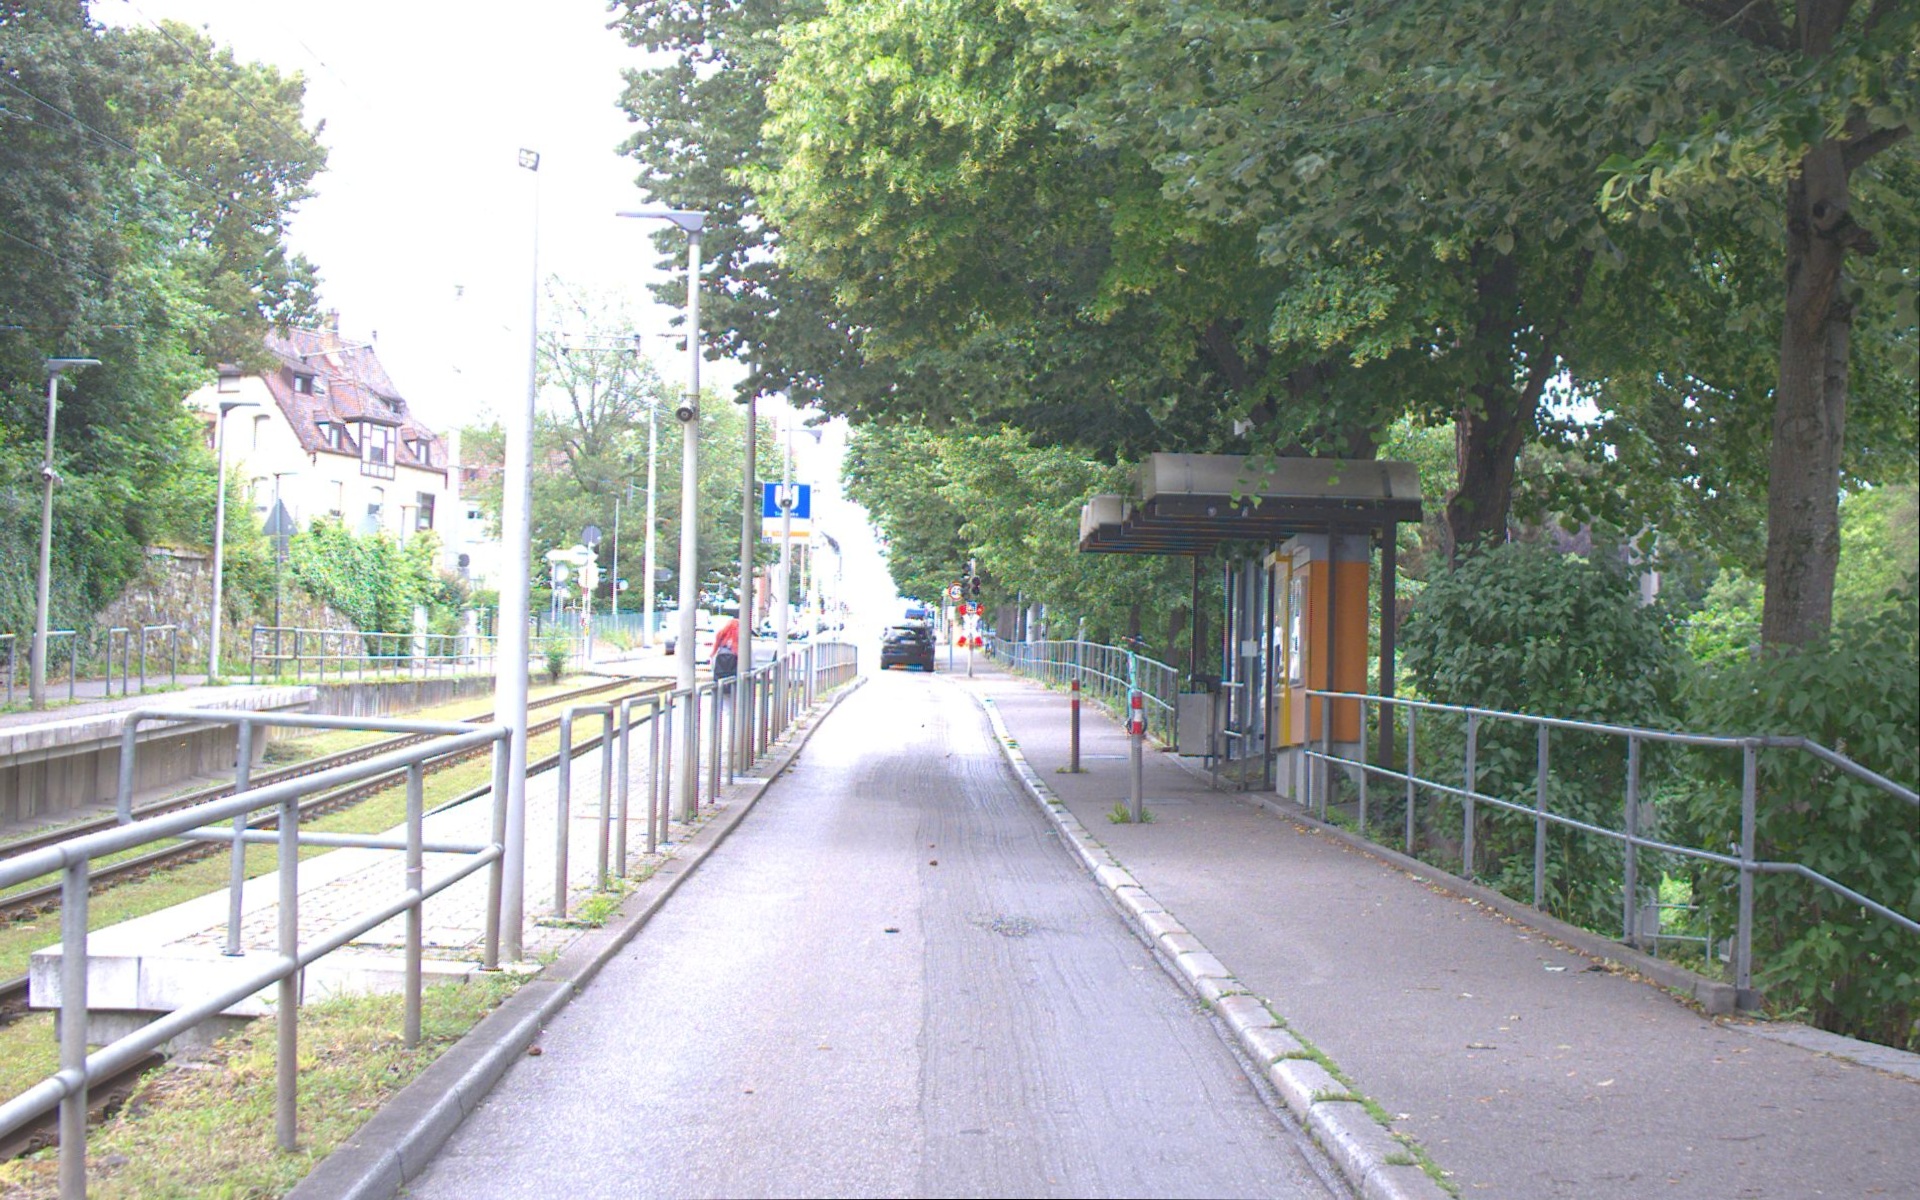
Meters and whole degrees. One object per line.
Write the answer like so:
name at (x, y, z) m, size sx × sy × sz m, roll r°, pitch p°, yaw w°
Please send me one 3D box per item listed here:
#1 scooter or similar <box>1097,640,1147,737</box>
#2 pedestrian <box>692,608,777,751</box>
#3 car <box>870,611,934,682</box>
scooter or similar at (1.986, 1.095, 42.249) m, size 0.342 × 1.153 × 1.147 m, roll 5°, pitch -3°, yaw -7°
pedestrian at (-2.341, 0.818, 35.805) m, size 0.742 × 1.405 × 0.747 m, roll 5°, pitch 1°, yaw -1°
car at (-2.006, 1.618, 118.850) m, size 1.993 × 2.138 × 3.999 m, roll 5°, pitch -3°, yaw -1°
